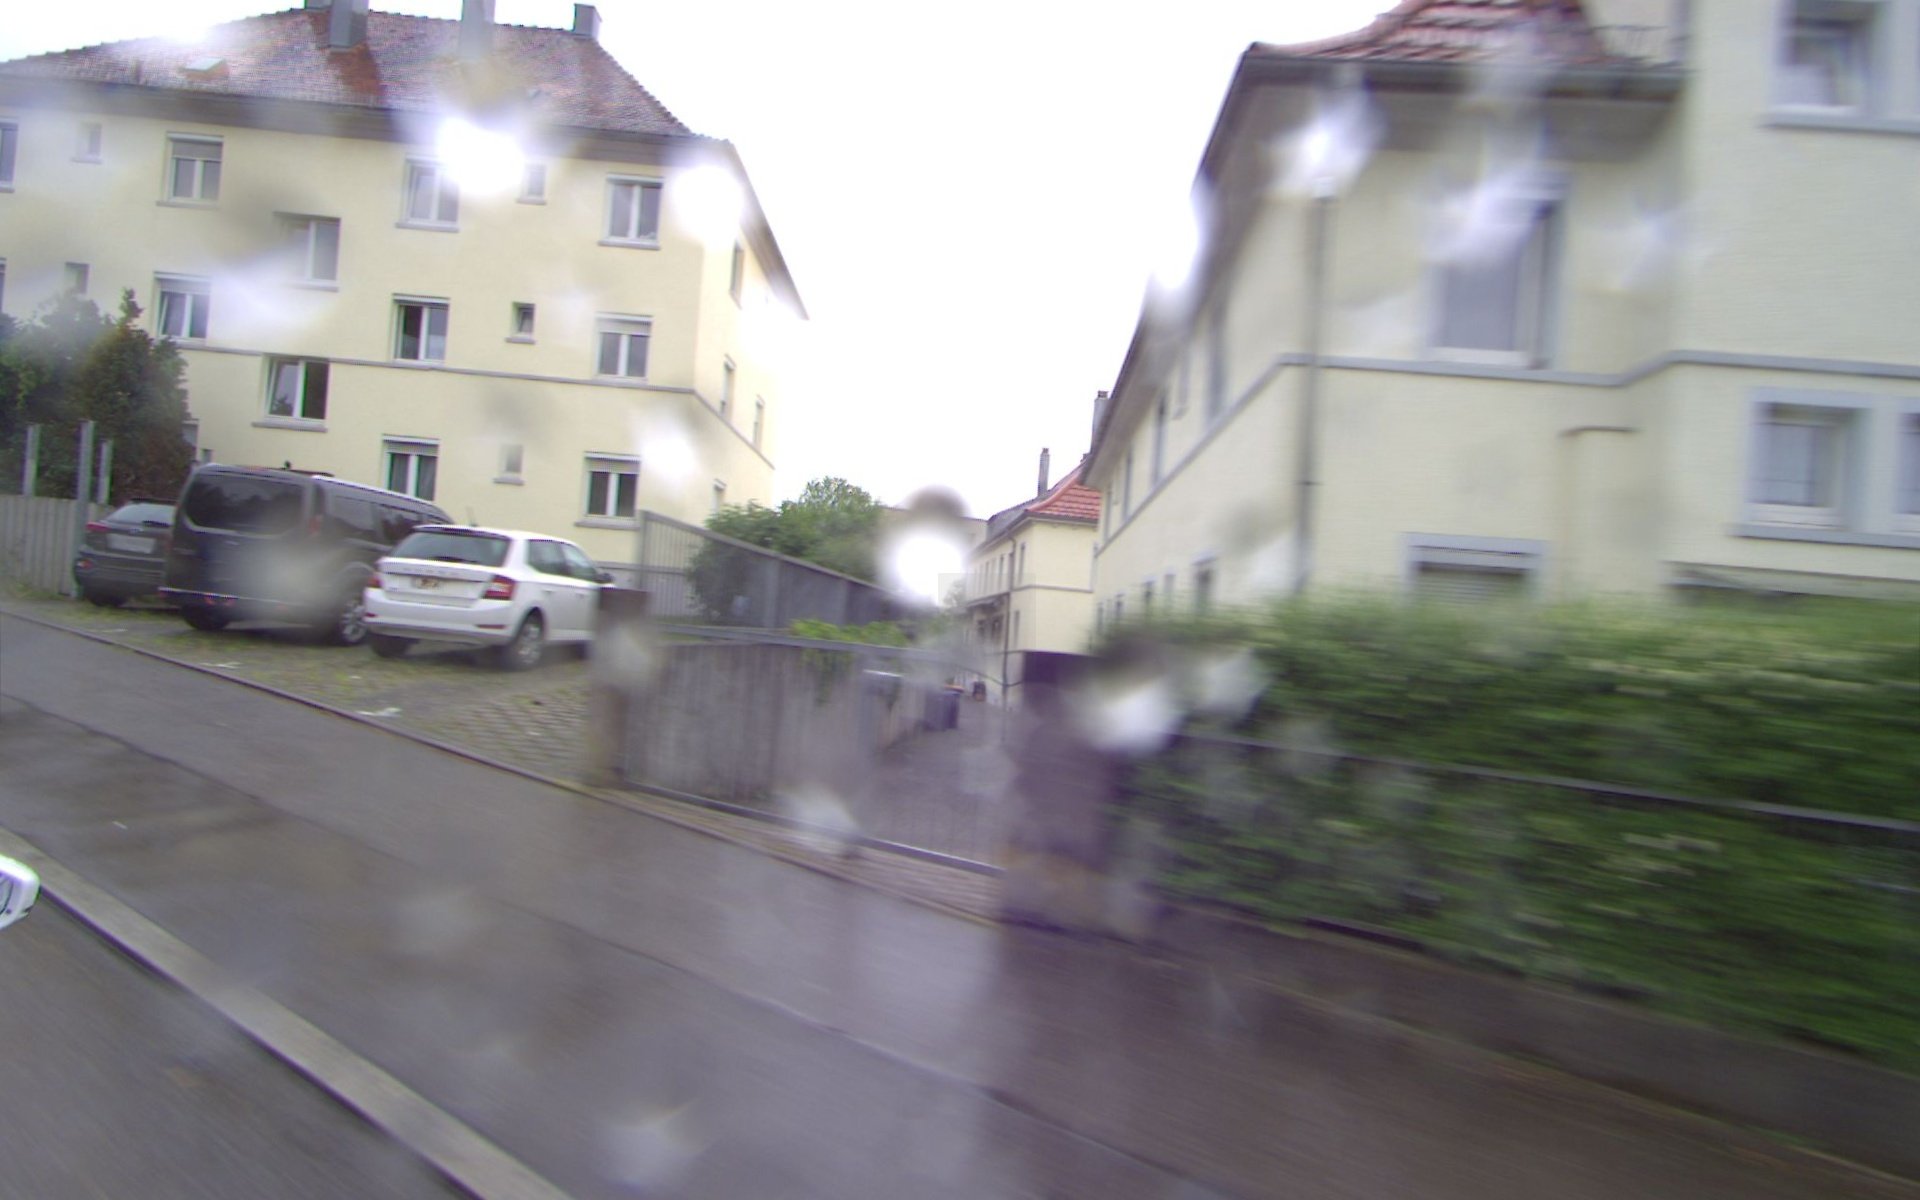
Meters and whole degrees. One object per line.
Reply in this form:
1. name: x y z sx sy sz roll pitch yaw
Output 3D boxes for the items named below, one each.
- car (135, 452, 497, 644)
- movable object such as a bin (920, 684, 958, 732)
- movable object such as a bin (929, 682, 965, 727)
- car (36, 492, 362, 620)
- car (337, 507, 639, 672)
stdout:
1. car: -7.492 -0.539 12.242 1.738 1.805 3.933 5 1 1
2. movable object such as a bin: -0.490 2.570 24.100 0.721 1.047 0.917 5 -3 7
3. movable object such as a bin: -0.318 2.656 25.615 0.721 1.047 0.917 5 -3 7
4. car: -9.932 -0.524 13.506 1.656 1.356 3.523 5 1 -1
5. car: -5.245 -0.110 11.722 1.656 1.494 3.525 5 1 2
